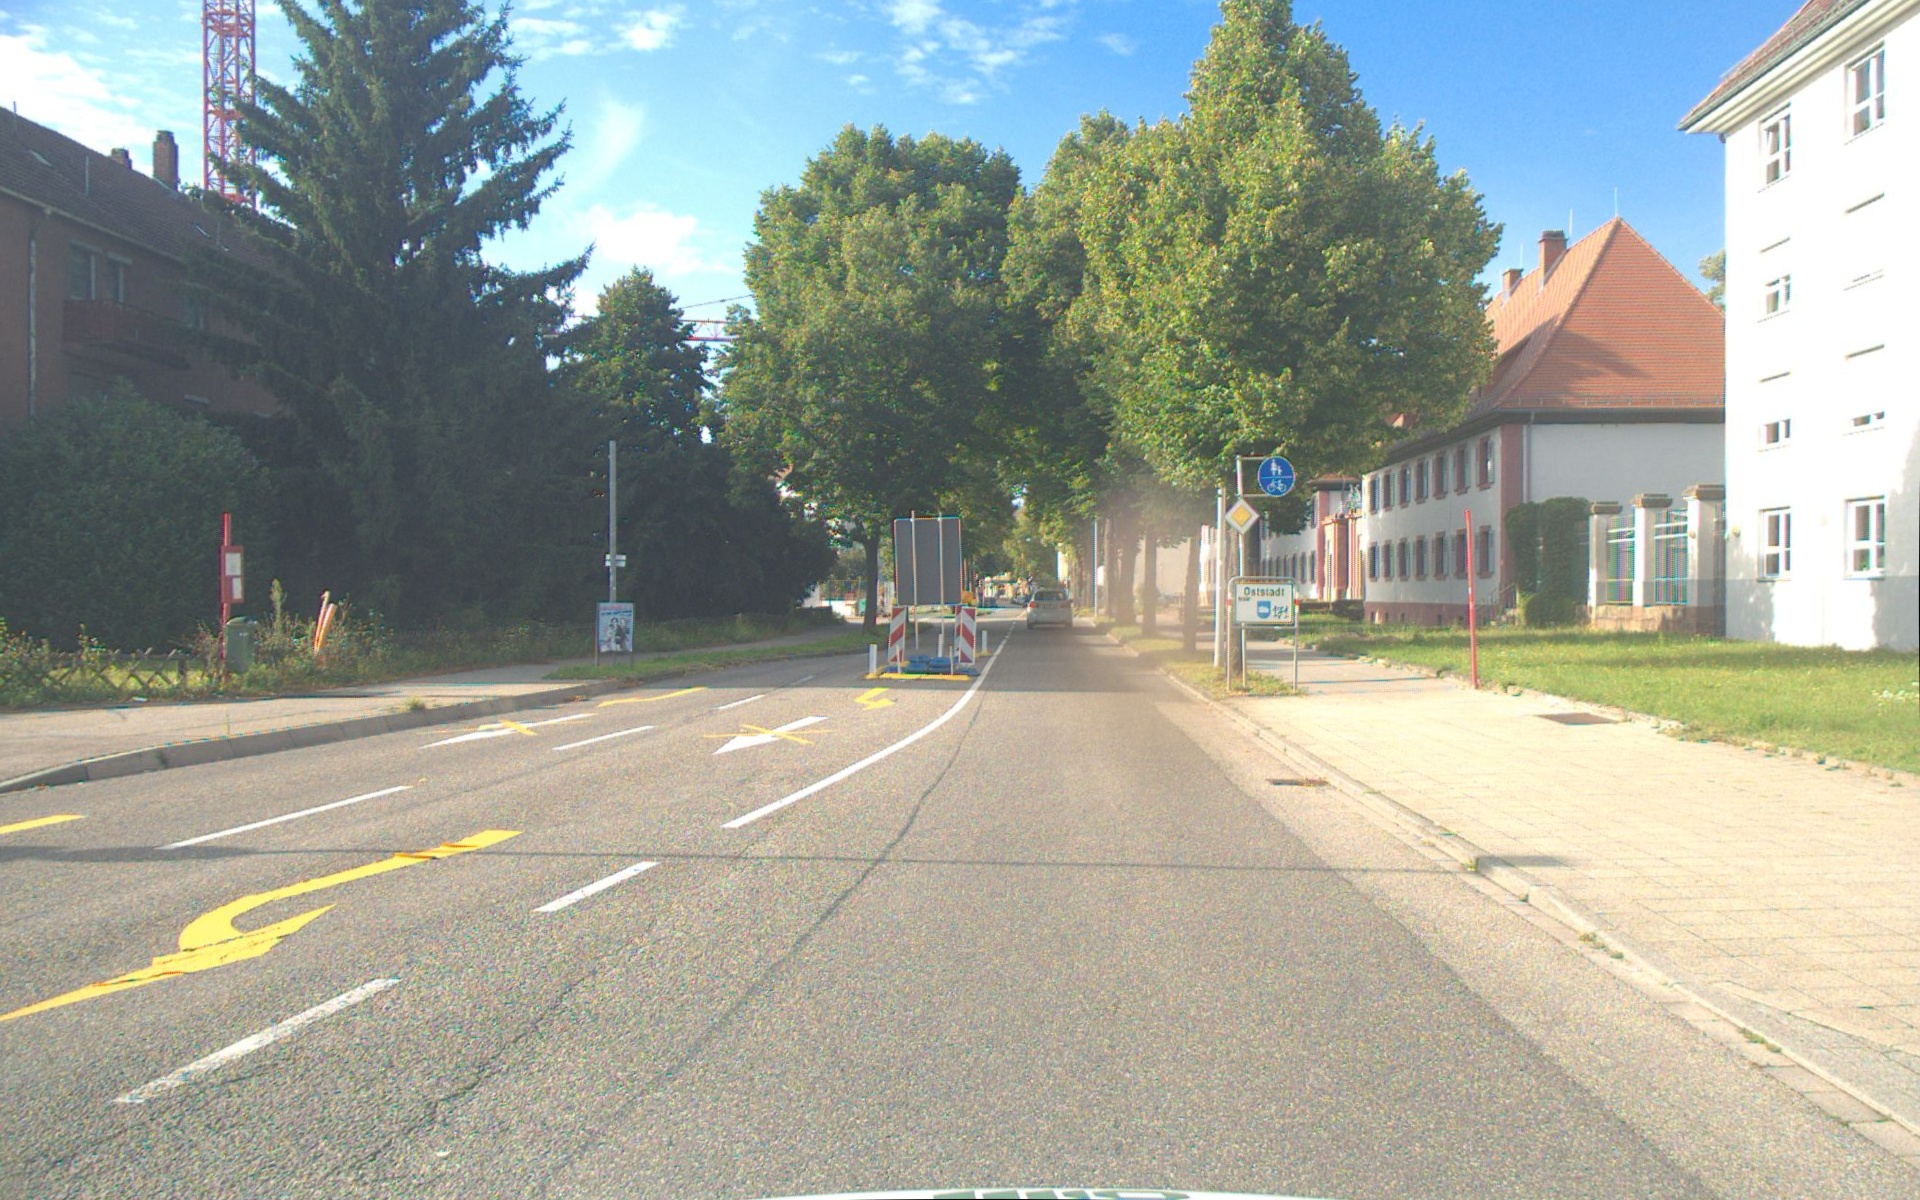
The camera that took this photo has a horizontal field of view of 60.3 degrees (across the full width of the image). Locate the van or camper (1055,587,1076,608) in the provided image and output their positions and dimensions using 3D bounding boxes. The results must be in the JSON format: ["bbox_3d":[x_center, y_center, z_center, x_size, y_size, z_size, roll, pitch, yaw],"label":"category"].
[{"bbox_3d":[13.068,-0.290,205.299,2.165,2.653,5.370,0,0,-2],"label":"van or camper"}]

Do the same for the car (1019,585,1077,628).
[{"bbox_3d":[3.436,0.256,65.290,1.953,1.582,4.273,1,0,-1],"label":"car"}]

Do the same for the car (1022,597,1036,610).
[{"bbox_3d":[9.859,0.470,237.065,1.952,1.786,4.001,1,0,3],"label":"car"}]

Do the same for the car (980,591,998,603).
[{"bbox_3d":[3.886,-0.421,222.013,1.954,1.668,3.997,-1,0,-4],"label":"car"}]
